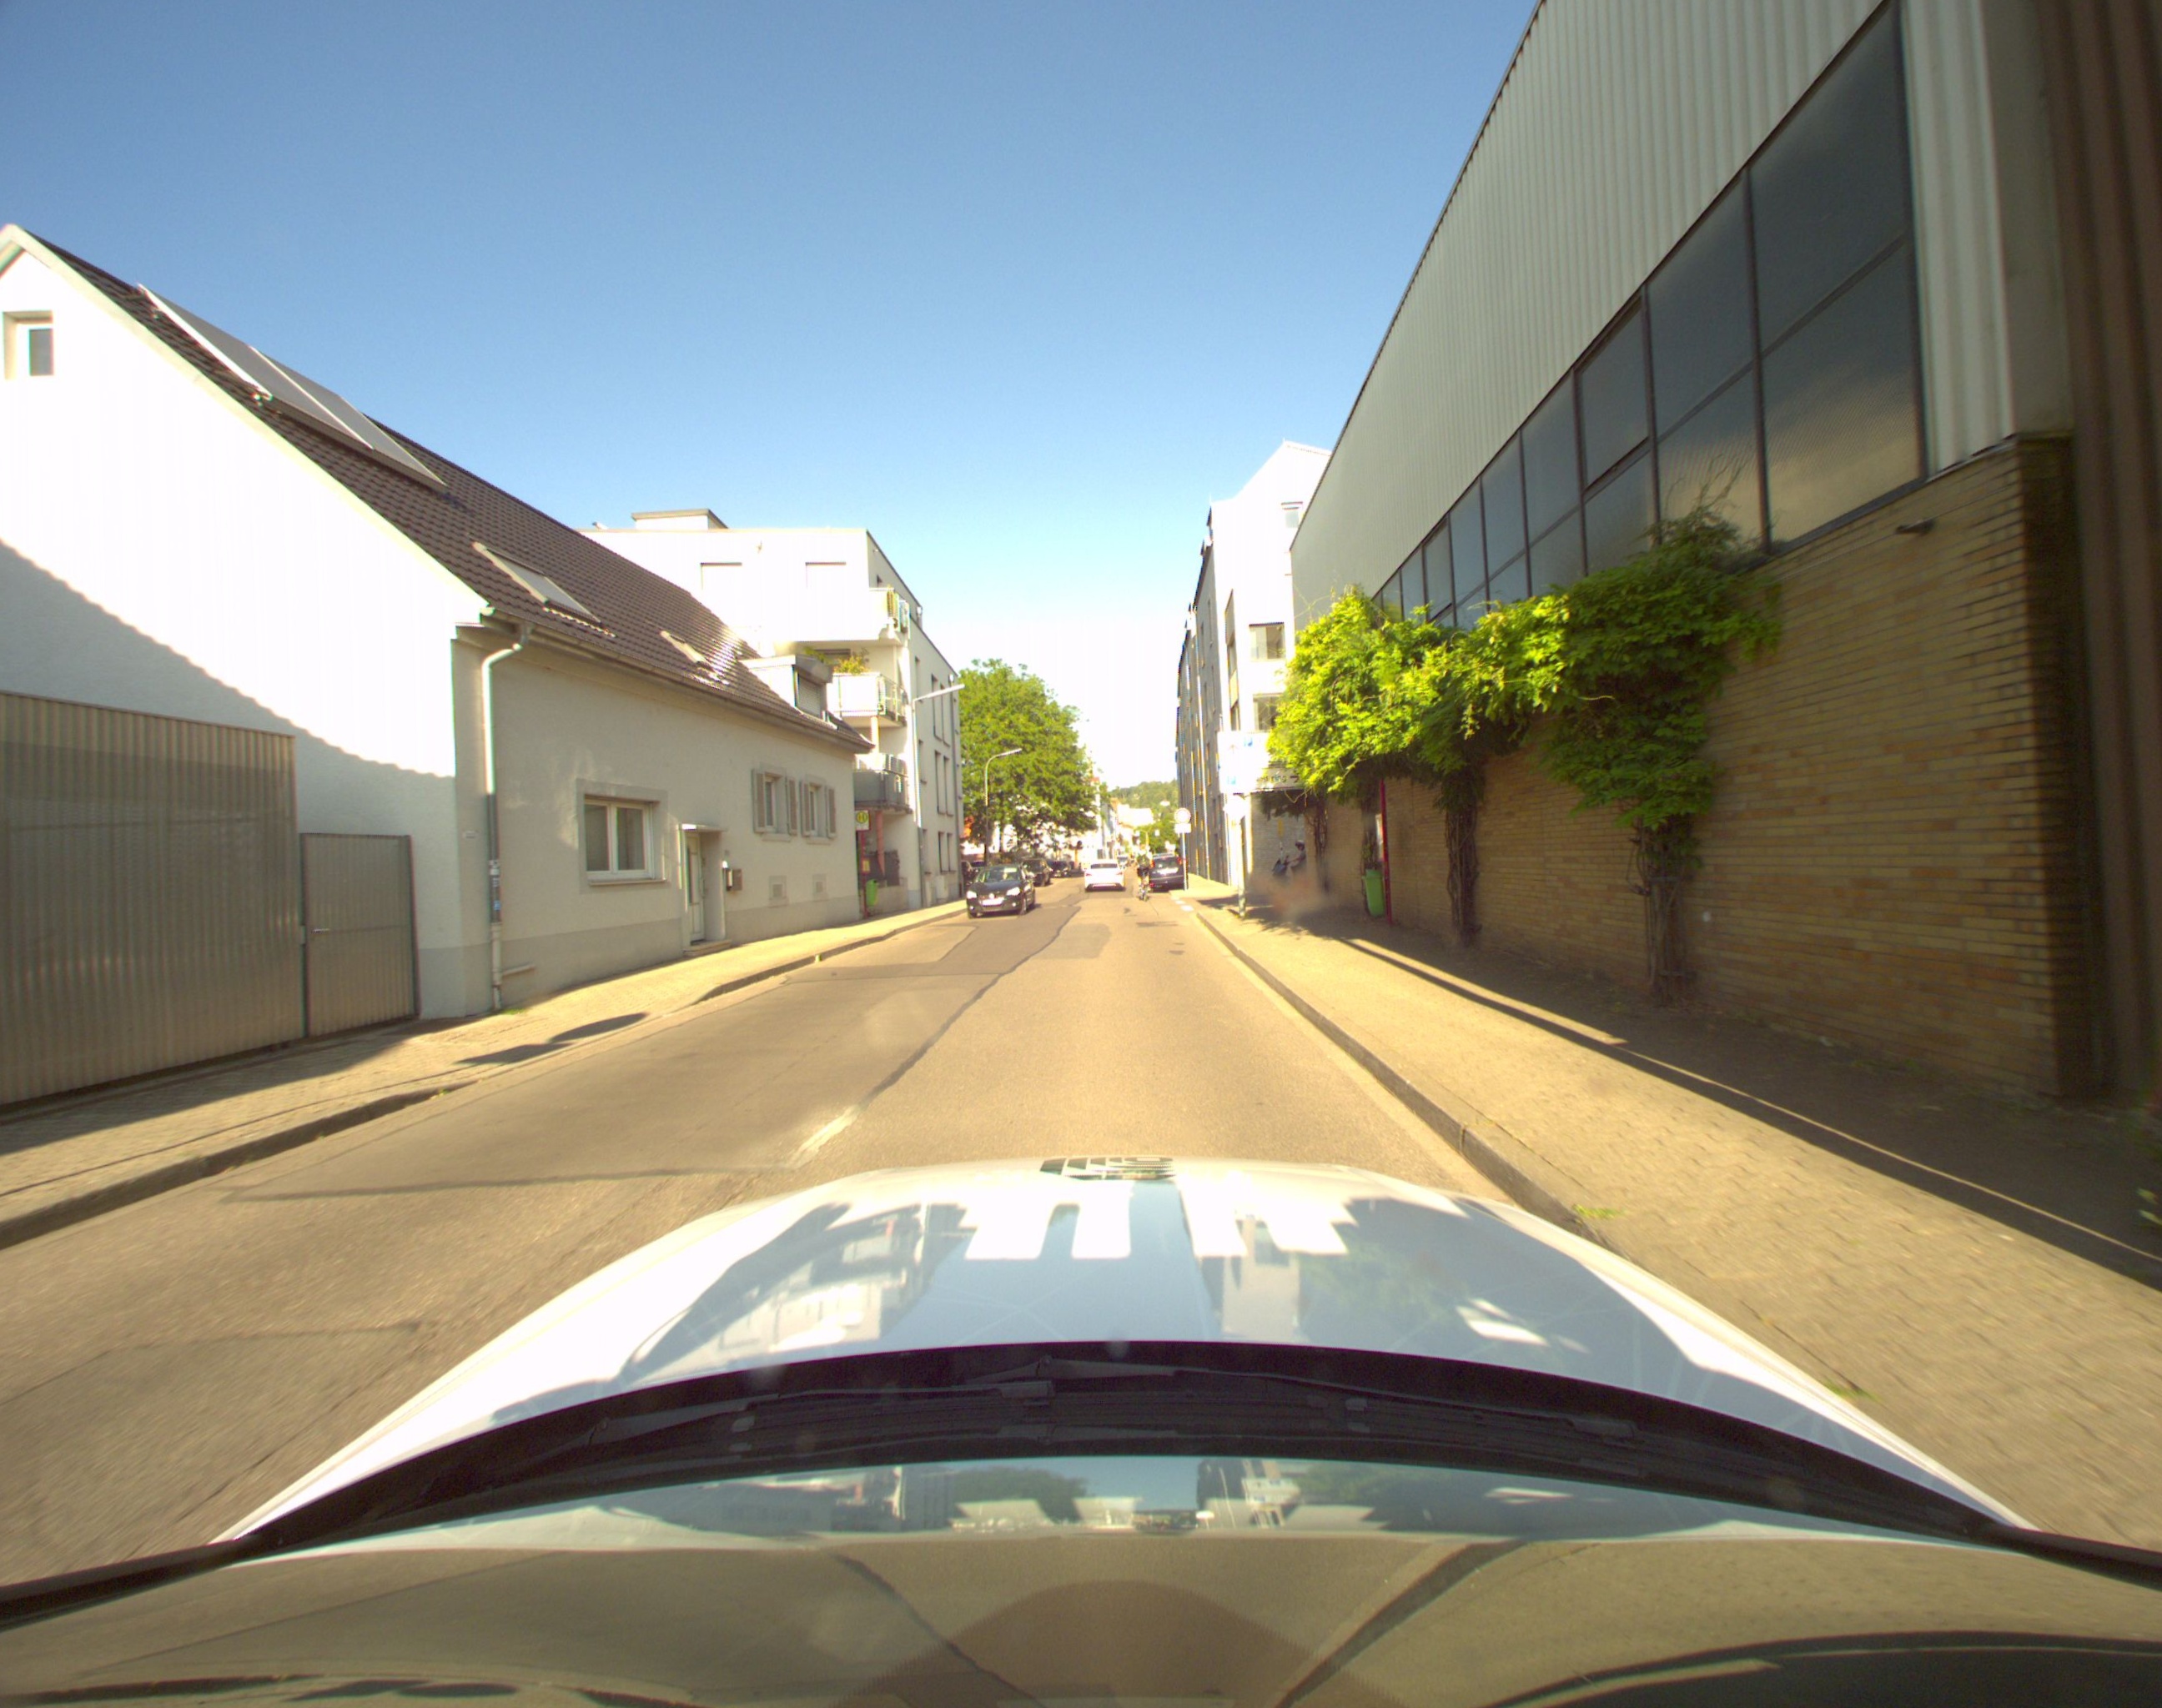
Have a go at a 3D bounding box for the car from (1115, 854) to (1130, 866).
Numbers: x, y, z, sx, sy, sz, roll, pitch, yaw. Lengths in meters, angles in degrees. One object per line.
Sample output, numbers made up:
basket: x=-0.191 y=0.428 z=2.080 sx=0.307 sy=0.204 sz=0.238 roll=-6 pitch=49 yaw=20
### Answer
car: x=6.520 y=0.946 z=127.019 sx=1.936 sy=1.587 sz=4.628 roll=-7 pitch=0 yaw=5

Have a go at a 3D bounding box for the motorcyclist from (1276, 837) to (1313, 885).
motorcyclist: x=6.843 y=0.226 z=26.090 sx=0.868 sy=1.472 sz=0.901 roll=-3 pitch=-1 yaw=31

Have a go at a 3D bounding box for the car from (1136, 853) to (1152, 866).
car: x=9.101 y=0.798 z=117.060 sx=1.847 sy=1.791 sz=4.606 roll=-3 pitch=0 yaw=0

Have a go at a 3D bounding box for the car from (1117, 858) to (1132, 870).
car: x=6.064 y=1.394 z=113.295 sx=1.655 sy=1.575 sz=3.922 roll=-3 pitch=0 yaw=7

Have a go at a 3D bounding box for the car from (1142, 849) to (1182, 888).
car: x=3.899 y=0.644 z=39.682 sx=1.658 sy=1.702 sz=3.916 roll=-3 pitch=0 yaw=2

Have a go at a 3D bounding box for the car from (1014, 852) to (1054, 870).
car: x=-4.893 y=0.716 z=85.296 sx=3.883 sy=1.575 sz=1.712 roll=-3 pitch=0 yaw=4

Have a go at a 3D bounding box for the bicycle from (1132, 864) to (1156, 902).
bicycle: x=2.075 y=0.941 z=27.010 sx=0.695 sy=1.130 sz=2.405 roll=-3 pitch=0 yaw=3

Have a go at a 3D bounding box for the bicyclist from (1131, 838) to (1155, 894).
bicyclist: x=2.046 y=0.381 z=26.992 sx=0.695 sy=1.790 sz=1.041 roll=-3 pitch=-1 yaw=3

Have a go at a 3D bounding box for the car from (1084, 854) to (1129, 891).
car: x=1.105 y=0.811 z=36.777 sx=1.836 sy=1.491 sz=4.145 roll=-3 pitch=0 yaw=1

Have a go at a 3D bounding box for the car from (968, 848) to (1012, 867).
car: x=-8.912 y=0.359 z=79.661 sx=3.880 sy=1.575 sz=1.713 roll=-3 pitch=0 yaw=7

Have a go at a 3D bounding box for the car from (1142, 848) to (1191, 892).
car: x=3.644 y=0.655 z=35.156 sx=1.624 sy=1.587 sz=4.070 roll=-6 pitch=0 yaw=1

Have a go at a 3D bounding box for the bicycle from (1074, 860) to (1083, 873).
bicycle: x=-0.267 y=1.335 z=86.044 sx=0.832 sy=1.217 sz=2.843 roll=-3 pitch=0 yaw=2

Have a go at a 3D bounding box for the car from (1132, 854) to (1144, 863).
car: x=11.145 y=0.897 z=159.384 sx=1.935 sy=1.587 sz=4.631 roll=-7 pitch=0 yaw=7

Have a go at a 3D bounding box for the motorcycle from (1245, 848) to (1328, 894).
motorcycle: x=6.608 y=0.553 z=26.227 sx=2.312 sy=1.281 sz=0.901 roll=-6 pitch=-2 yaw=31

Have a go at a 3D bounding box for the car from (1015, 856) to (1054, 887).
car: x=-2.948 y=1.079 z=52.504 sx=1.845 sy=1.791 sz=4.611 roll=-3 pitch=0 yaw=3

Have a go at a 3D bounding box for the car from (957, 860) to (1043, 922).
car: x=-2.295 y=1.022 z=24.171 sx=1.835 sy=1.491 sz=4.147 roll=-6 pitch=0 yaw=2

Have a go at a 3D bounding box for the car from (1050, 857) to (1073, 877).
car: x=-1.688 y=1.133 z=70.960 sx=1.698 sy=1.575 sz=3.915 roll=-3 pitch=0 yaw=2

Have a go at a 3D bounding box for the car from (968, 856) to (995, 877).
car: x=-8.453 y=1.061 z=69.576 sx=1.784 sy=1.689 sz=3.965 roll=-2 pitch=0 yaw=0

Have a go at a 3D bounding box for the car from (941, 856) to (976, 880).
car: x=-8.750 y=0.970 z=58.425 sx=1.852 sy=1.587 sz=4.619 roll=-2 pitch=0 yaw=-1
